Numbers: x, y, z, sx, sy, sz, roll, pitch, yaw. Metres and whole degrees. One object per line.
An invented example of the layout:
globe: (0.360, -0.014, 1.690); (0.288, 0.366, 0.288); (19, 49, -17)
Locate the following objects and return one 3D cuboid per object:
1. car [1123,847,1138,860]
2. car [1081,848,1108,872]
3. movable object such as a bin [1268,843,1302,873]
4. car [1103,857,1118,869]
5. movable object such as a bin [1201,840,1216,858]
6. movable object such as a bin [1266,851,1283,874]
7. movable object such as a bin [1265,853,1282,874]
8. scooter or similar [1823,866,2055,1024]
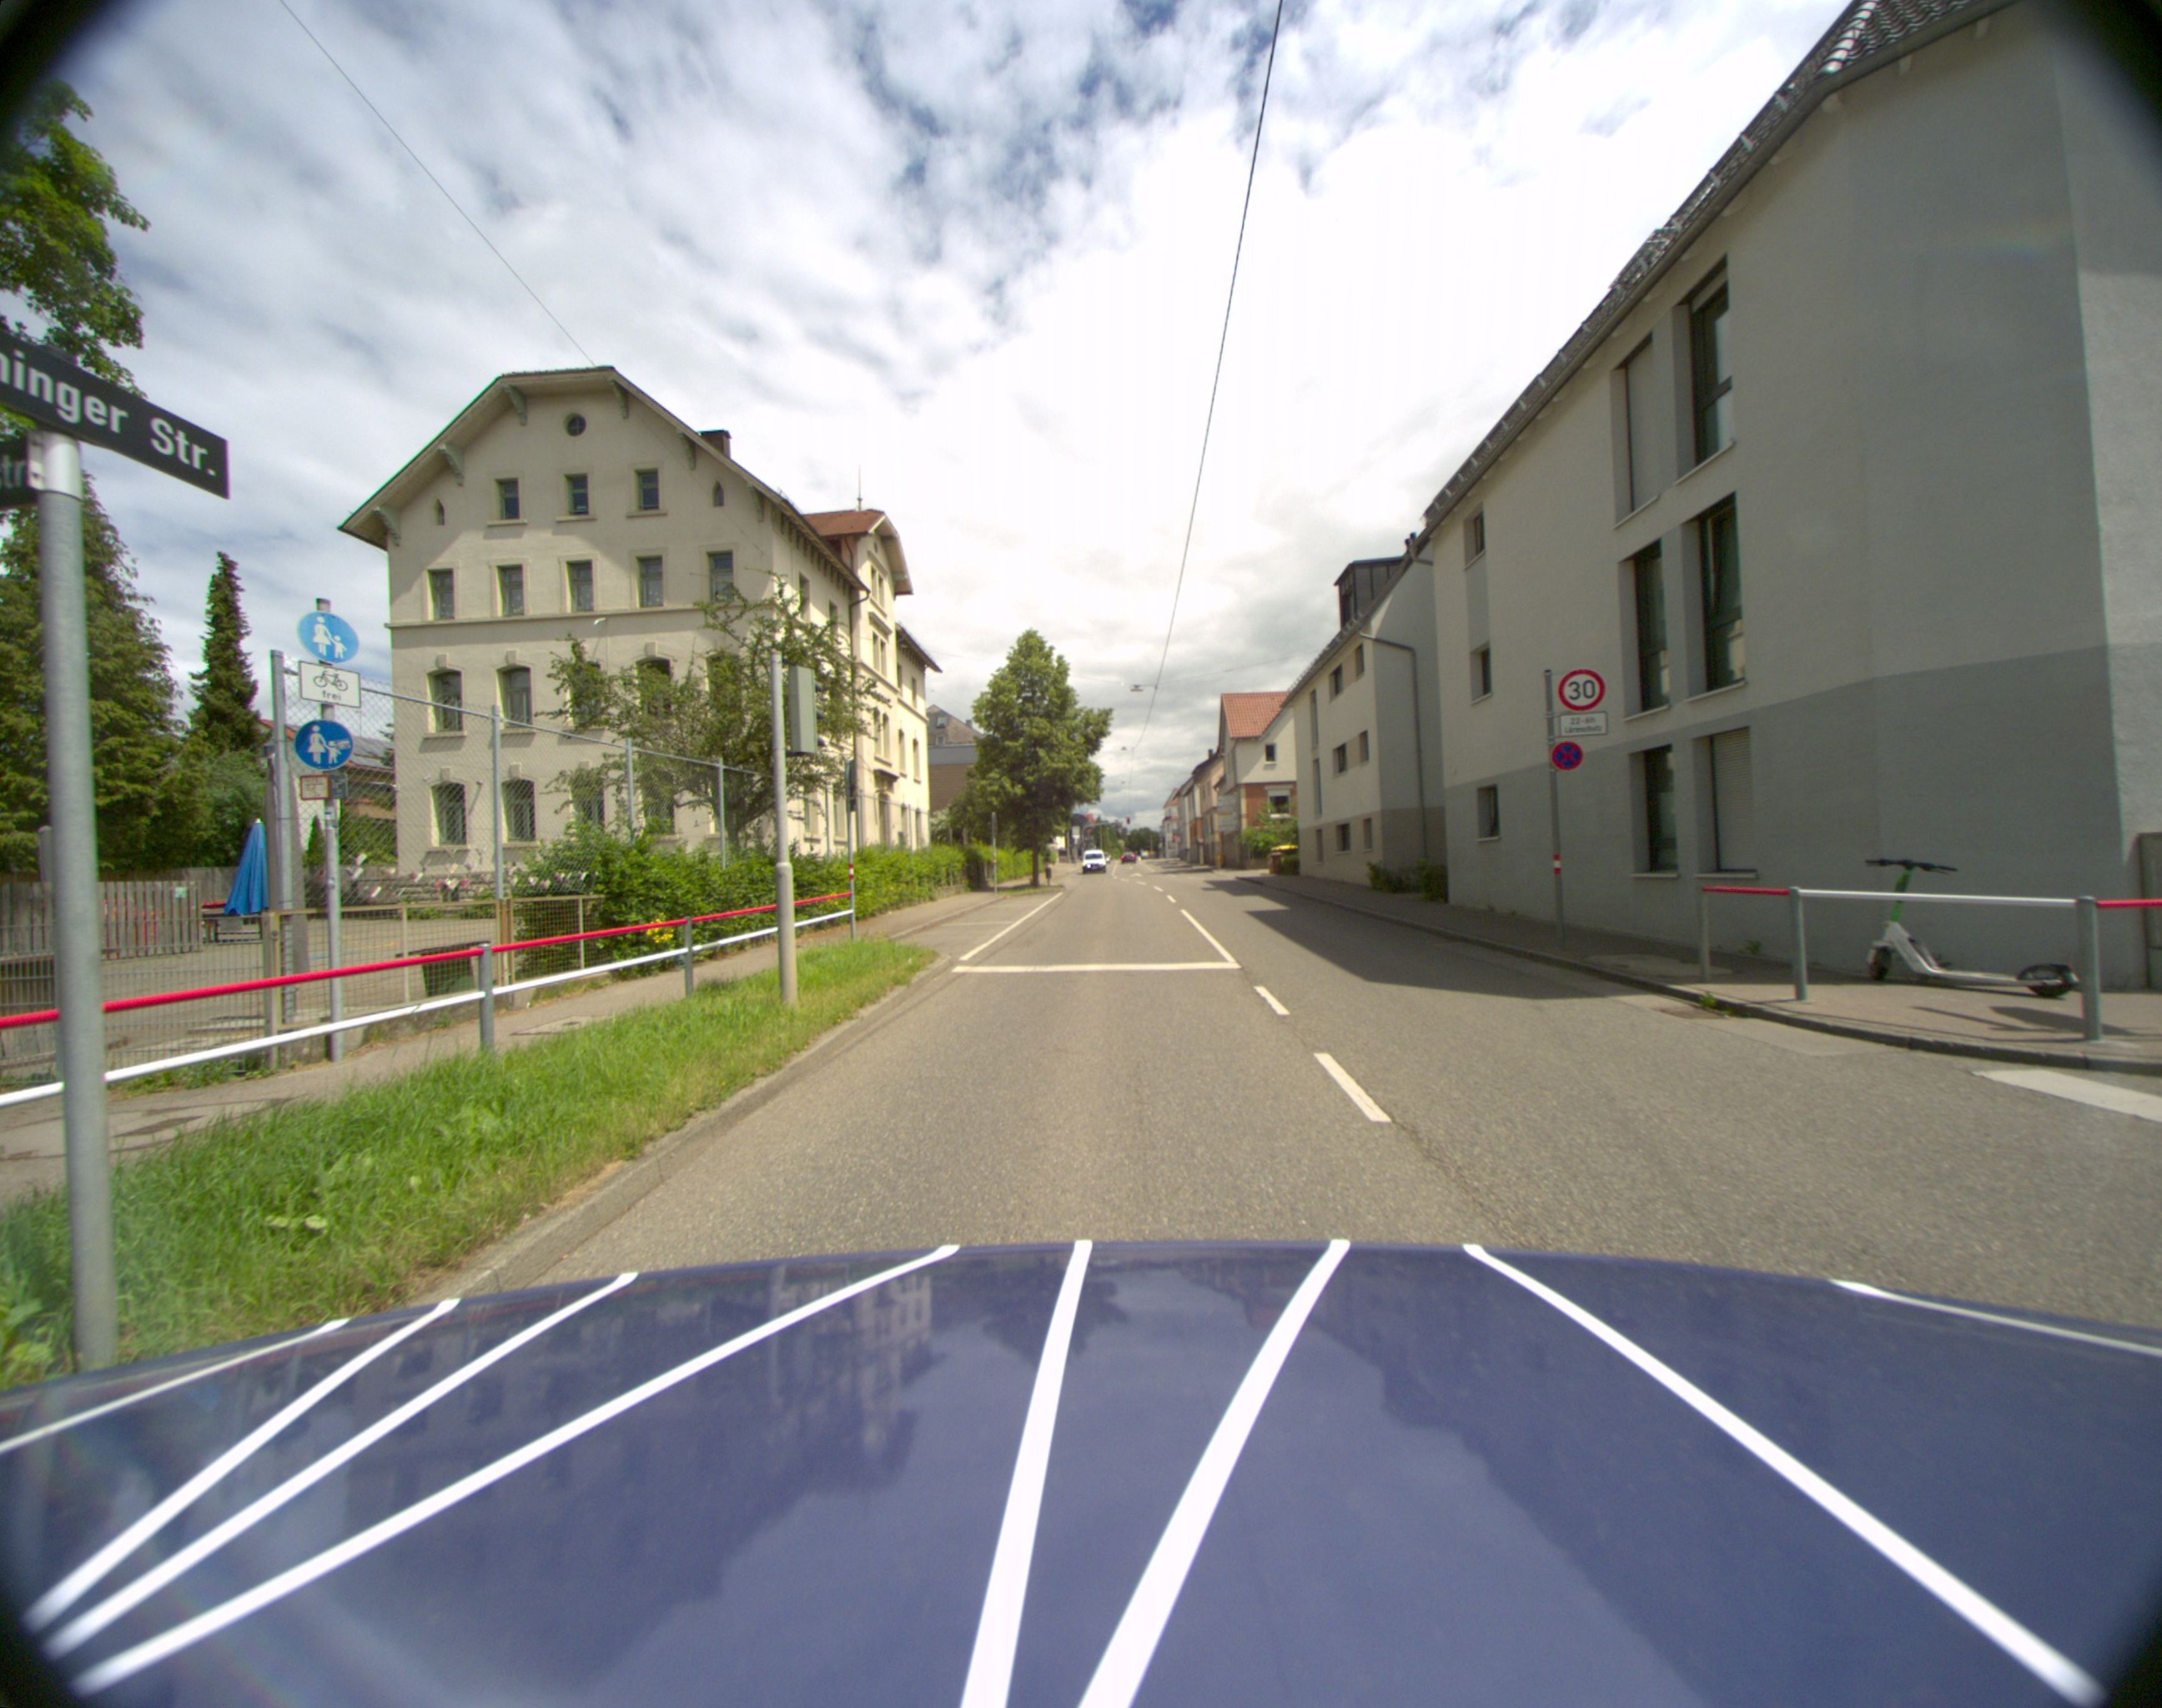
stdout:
car: (6.246, -0.038, 96.188); (1.795, 1.477, 4.001); (-4, -1, 3)
car: (1.048, 0.405, 58.751); (1.893, 1.718, 4.293); (-3, 0, 1)
movable object such as a bin: (10.394, 0.205, 38.757); (1.338, 1.437, 1.170); (-3, 1, -1)
car: (4.077, 1.248, 104.111); (1.795, 1.477, 4.001); (-4, -1, 3)
movable object such as a bin: (9.204, -0.366, 54.852); (0.766, 1.155, 0.802); (-8, 4, -2)
movable object such as a bin: (9.511, 0.423, 37.307); (0.642, 1.069, 0.660); (-2, 1, 0)
movable object such as a bin: (9.634, 0.484, 38.051); (0.642, 0.995, 0.657); (-2, 1, 2)
scooter or similar: (7.700, 0.753, 6.880); (0.491, 1.254, 1.304); (-2, 1, -27)
